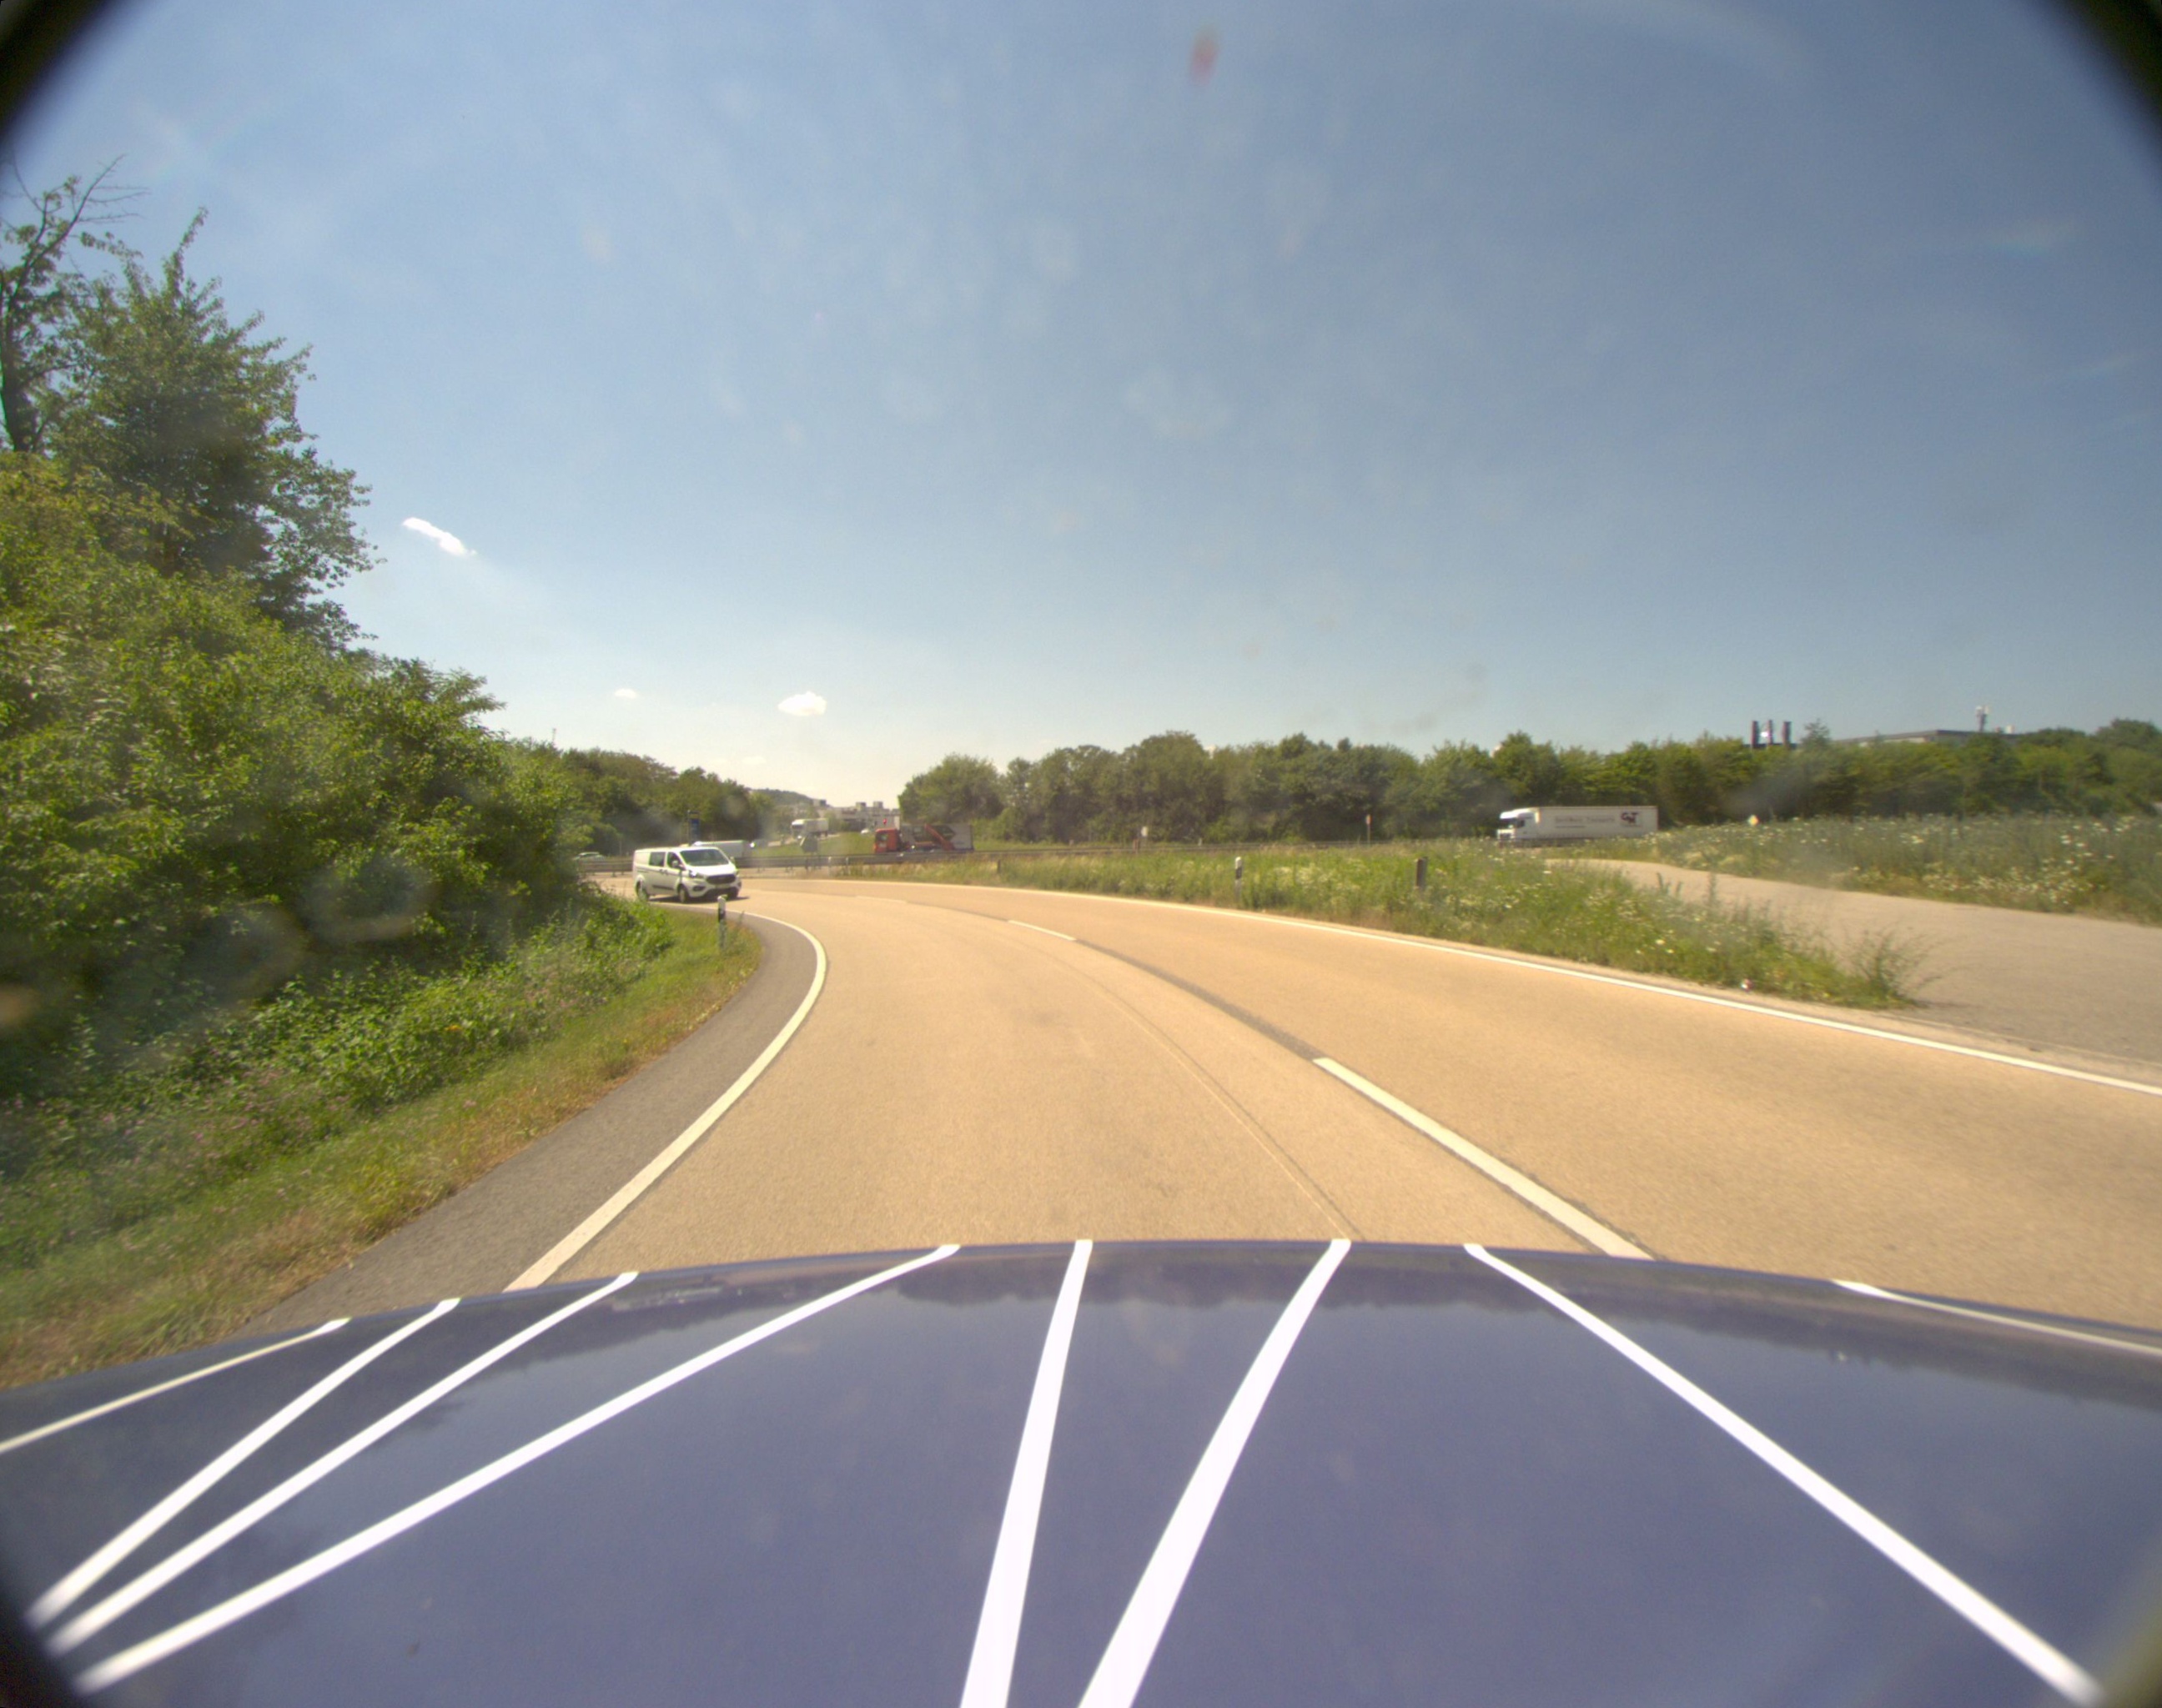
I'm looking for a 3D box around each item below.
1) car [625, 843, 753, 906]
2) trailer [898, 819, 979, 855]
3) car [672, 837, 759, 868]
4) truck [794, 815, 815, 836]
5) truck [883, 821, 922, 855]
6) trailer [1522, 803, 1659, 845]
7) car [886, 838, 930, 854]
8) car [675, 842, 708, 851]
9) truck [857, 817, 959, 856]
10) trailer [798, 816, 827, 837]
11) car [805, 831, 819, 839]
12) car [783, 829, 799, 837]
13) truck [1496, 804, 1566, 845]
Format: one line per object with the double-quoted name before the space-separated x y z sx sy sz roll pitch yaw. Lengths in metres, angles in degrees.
"car" -14.751 0.713 28.484 5.026 2.003 2.066 0 5 37
"trailer" -13.253 -1.600 71.261 7.220 2.992 2.304 -2 2 -6
"car" -33.253 -0.192 69.326 6.694 2.524 2.162 -2 3 -5
"truck" -57.332 -5.856 157.538 2.831 4.136 3.996 -2 3 -5
"truck" -16.627 -1.465 70.941 3.076 2.992 2.314 -2 2 -6
"trailer" 51.989 -3.085 77.533 13.277 3.917 2.918 -2 1 -10
"car" -13.763 -0.638 60.459 3.245 1.142 1.231 -2 1 -5
"car" -54.179 -1.046 105.781 1.529 1.159 4.081 -1 1 20
"truck" -14.517 -1.505 64.408 8.205 3.045 2.600 -1 2 -9
"trailer" -57.895 -5.963 163.951 2.824 4.136 12.242 -2 2 -5
"car" -52.274 -3.718 147.544 1.599 1.424 3.568 -2 1 -4
"car" -53.123 -3.877 139.133 1.599 1.424 3.569 -2 1 -1
"truck" 45.127 -2.909 76.320 5.419 3.917 2.918 -2 1 -11
